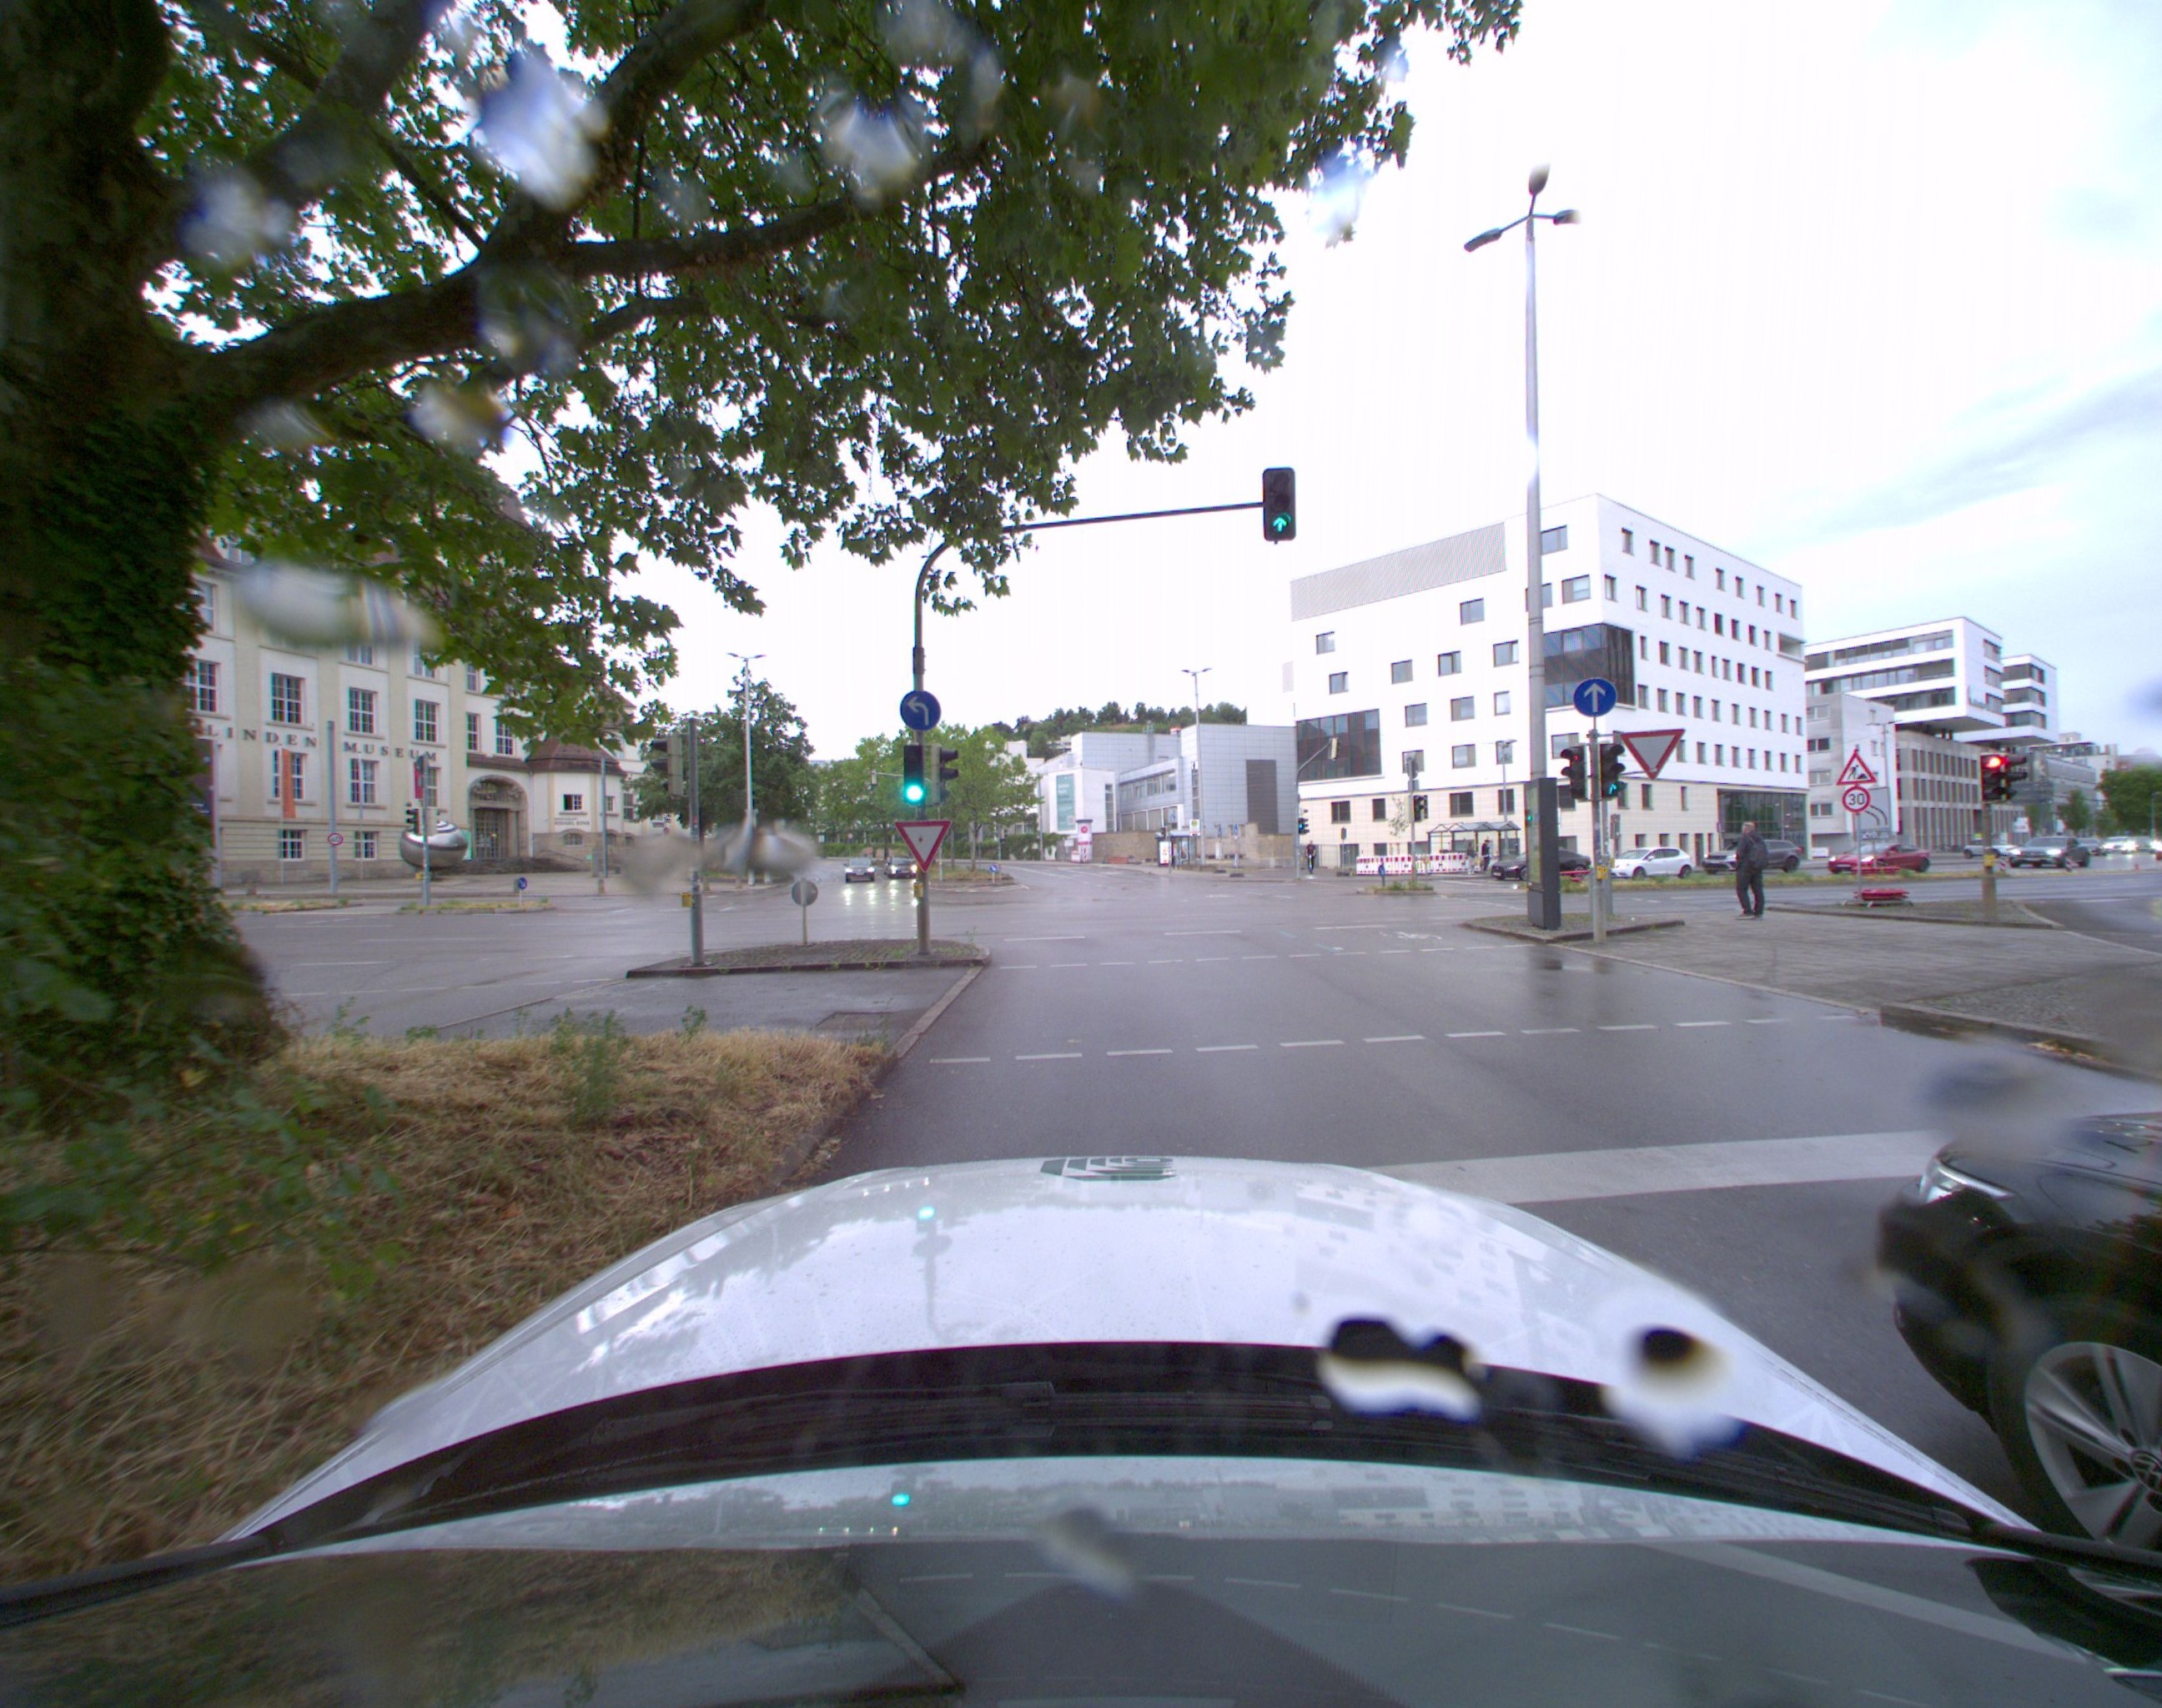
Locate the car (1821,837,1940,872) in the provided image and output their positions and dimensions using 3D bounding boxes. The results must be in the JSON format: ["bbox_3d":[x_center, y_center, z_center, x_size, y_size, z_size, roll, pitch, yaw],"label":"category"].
[{"bbox_3d":[37.503,0.045,38.227,4.520,1.557,1.957,0,0,-14],"label":"car"}]

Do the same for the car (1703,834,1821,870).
[{"bbox_3d":[33.593,-0.102,40.250,4.367,1.664,1.996,-1,0,-6],"label":"car"}]

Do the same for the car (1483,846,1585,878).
[{"bbox_3d":[20.849,0.369,37.534,3.991,1.444,1.790,0,0,-13],"label":"car"}]

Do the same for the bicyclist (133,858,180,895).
[{"bbox_3d":[-40.621,0.987,35.796,1.124,1.633,0.700,0,-2,-7],"label":"bicyclist"}]

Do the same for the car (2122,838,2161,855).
[{"bbox_3d":[93.312,-0.625,71.559,4.182,1.450,1.943,0,0,-43],"label":"car"}]

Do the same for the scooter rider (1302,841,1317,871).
[{"bbox_3d":[14.595,0.130,51.982,0.725,1.883,0.628,1,-2,-18],"label":"scooter rider"}]

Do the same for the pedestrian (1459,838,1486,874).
[{"bbox_3d":[20.136,0.114,41.925,0.951,1.840,0.821,0,-2,-10],"label":"pedestrian"}]

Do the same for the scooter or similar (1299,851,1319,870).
[{"bbox_3d":[14.561,0.422,51.961,0.593,1.239,1.305,1,-2,-19],"label":"scooter or similar"}]

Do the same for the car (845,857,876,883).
[{"bbox_3d":[-14.672,1.014,54.149,1.871,1.564,4.254,-2,1,-15],"label":"car"}]

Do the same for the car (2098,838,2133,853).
[{"bbox_3d":[101.415,-0.801,79.867,4.180,1.450,1.944,0,0,-40],"label":"car"}]

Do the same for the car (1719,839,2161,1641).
[{"bbox_3d":[2.798,0.721,0.287,1.664,1.466,4.513,-1,1,1],"label":"car"}]

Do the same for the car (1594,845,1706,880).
[{"bbox_3d":[24.584,0.365,35.245,3.991,1.444,1.790,0,0,-13],"label":"car"}]

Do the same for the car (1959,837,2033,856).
[{"bbox_3d":[75.919,-0.594,67.628,1.949,1.557,4.072,0,0,8],"label":"car"}]

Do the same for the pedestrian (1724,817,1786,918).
[{"bbox_3d":[13.137,0.273,15.902,0.819,1.892,1.034,-1,-2,36],"label":"pedestrian"}]

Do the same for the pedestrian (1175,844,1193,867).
[{"bbox_3d":[7.762,0.114,61.484,1.253,1.719,1.016,0,-2,0],"label":"pedestrian"}]

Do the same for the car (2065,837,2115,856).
[{"bbox_3d":[78.705,-0.596,63.527,4.403,1.378,1.980,-1,0,-33],"label":"car"}]

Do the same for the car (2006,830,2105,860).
[{"bbox_3d":[51.020,-0.450,42.632,4.157,1.537,1.955,0,0,-18],"label":"car"}]

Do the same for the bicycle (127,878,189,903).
[{"bbox_3d":[-40.533,1.611,35.789,1.814,1.056,0.646,-1,-1,-8],"label":"bicycle"}]

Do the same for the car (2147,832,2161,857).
[{"bbox_3d":[66.992,-0.564,49.451,4.165,1.450,1.951,0,0,-25],"label":"car"}]

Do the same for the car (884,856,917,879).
[{"bbox_3d":[-12.875,0.927,58.090,1.795,1.585,3.973,-1,0,-20],"label":"car"}]

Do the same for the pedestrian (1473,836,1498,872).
[{"bbox_3d":[21.855,0.021,43.986,0.995,1.935,0.957,0,-2,11],"label":"pedestrian"}]
